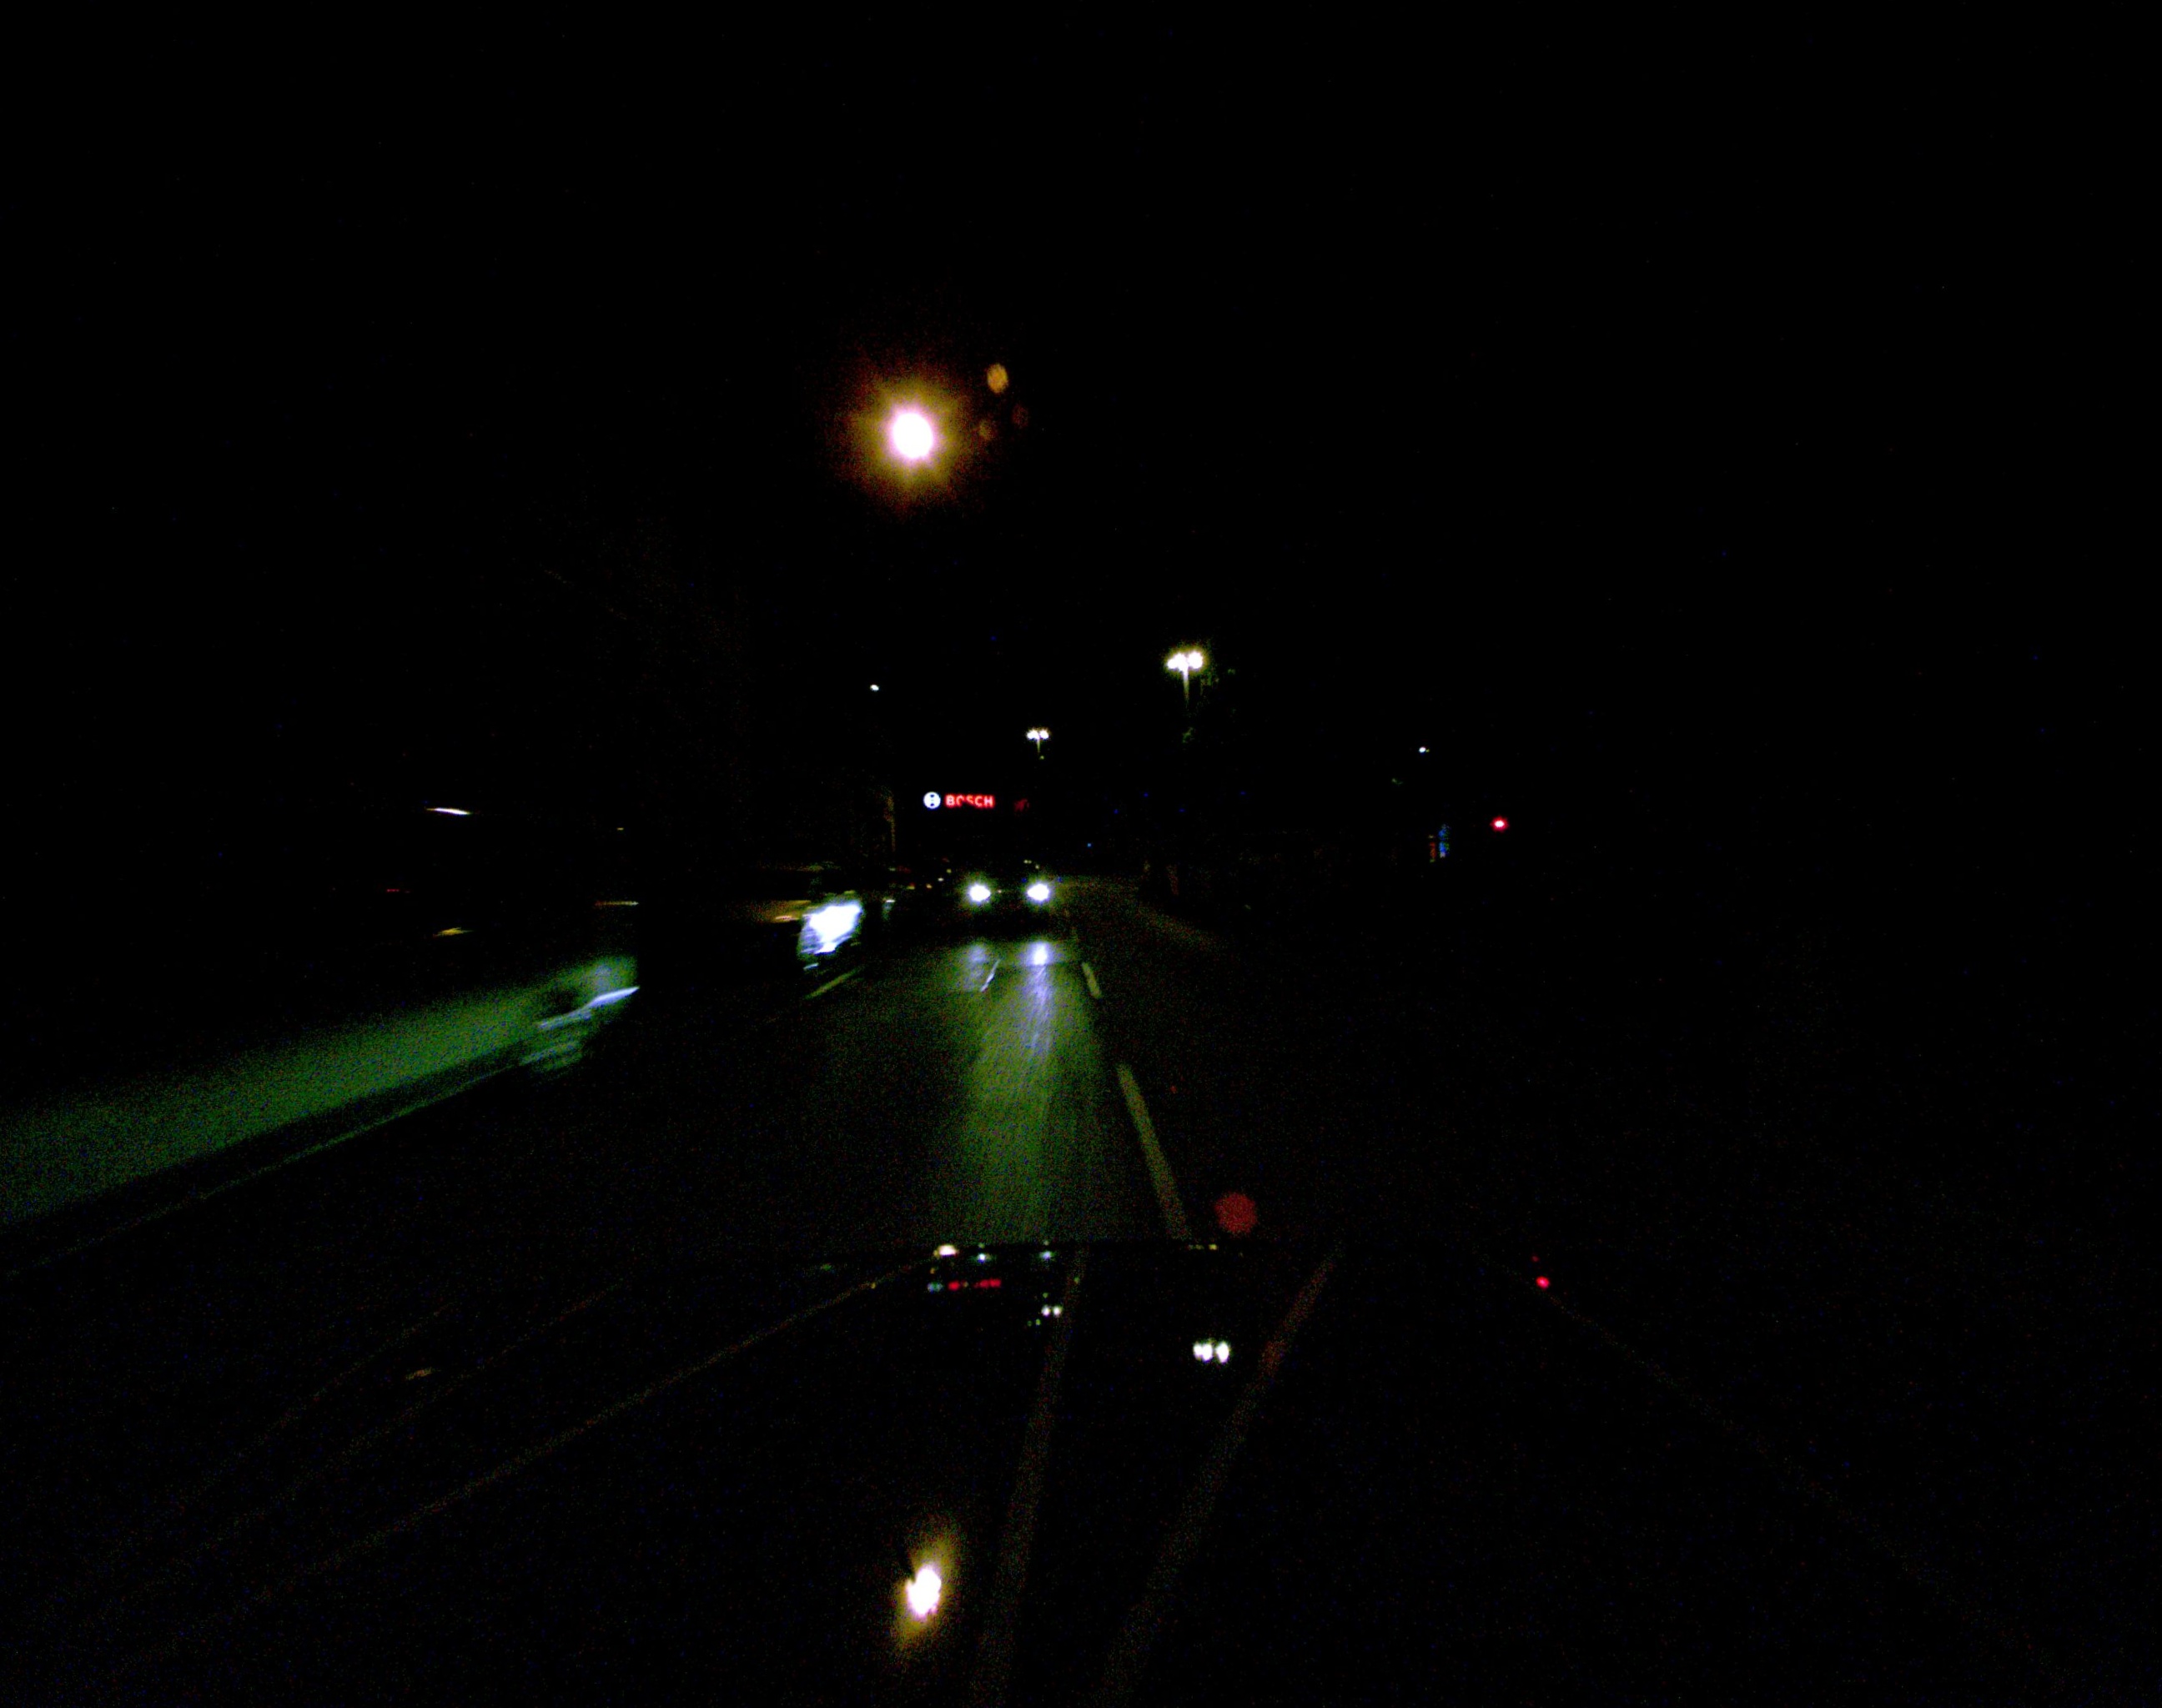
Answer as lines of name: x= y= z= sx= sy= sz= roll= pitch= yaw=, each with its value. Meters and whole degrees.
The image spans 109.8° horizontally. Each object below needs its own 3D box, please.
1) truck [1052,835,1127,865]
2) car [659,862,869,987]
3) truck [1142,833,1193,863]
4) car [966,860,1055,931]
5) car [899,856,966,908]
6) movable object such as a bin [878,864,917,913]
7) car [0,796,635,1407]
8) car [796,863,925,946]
truck: x=1.068 y=-0.495 z=96.109 sx=9.342 sy=3.701 sz=2.002 roll=0 pitch=1 yaw=14
car: x=-4.742 y=0.950 z=12.091 sx=1.749 sy=1.556 sz=4.209 roll=1 pitch=0 yaw=-3
truck: x=10.796 y=-0.747 z=94.530 sx=6.197 sy=3.672 sz=2.403 roll=-1 pitch=1 yaw=10
car: x=-1.680 y=0.961 z=19.451 sx=1.999 sy=1.606 sz=3.999 roll=0 pitch=0 yaw=-1
car: x=-5.290 y=0.950 z=27.566 sx=1.749 sy=1.673 sz=4.256 roll=1 pitch=0 yaw=-3
movable object such as a bin: x=-5.669 y=1.058 z=23.546 sx=0.940 sy=1.424 sz=1.338 roll=1 pitch=1 yaw=-5
car: x=-4.458 y=0.753 z=3.279 sx=2.078 sy=1.917 sz=5.369 roll=1 pitch=0 yaw=-2
car: x=-4.803 y=1.018 z=17.280 sx=1.749 sy=1.500 sz=4.832 roll=1 pitch=0 yaw=-3
